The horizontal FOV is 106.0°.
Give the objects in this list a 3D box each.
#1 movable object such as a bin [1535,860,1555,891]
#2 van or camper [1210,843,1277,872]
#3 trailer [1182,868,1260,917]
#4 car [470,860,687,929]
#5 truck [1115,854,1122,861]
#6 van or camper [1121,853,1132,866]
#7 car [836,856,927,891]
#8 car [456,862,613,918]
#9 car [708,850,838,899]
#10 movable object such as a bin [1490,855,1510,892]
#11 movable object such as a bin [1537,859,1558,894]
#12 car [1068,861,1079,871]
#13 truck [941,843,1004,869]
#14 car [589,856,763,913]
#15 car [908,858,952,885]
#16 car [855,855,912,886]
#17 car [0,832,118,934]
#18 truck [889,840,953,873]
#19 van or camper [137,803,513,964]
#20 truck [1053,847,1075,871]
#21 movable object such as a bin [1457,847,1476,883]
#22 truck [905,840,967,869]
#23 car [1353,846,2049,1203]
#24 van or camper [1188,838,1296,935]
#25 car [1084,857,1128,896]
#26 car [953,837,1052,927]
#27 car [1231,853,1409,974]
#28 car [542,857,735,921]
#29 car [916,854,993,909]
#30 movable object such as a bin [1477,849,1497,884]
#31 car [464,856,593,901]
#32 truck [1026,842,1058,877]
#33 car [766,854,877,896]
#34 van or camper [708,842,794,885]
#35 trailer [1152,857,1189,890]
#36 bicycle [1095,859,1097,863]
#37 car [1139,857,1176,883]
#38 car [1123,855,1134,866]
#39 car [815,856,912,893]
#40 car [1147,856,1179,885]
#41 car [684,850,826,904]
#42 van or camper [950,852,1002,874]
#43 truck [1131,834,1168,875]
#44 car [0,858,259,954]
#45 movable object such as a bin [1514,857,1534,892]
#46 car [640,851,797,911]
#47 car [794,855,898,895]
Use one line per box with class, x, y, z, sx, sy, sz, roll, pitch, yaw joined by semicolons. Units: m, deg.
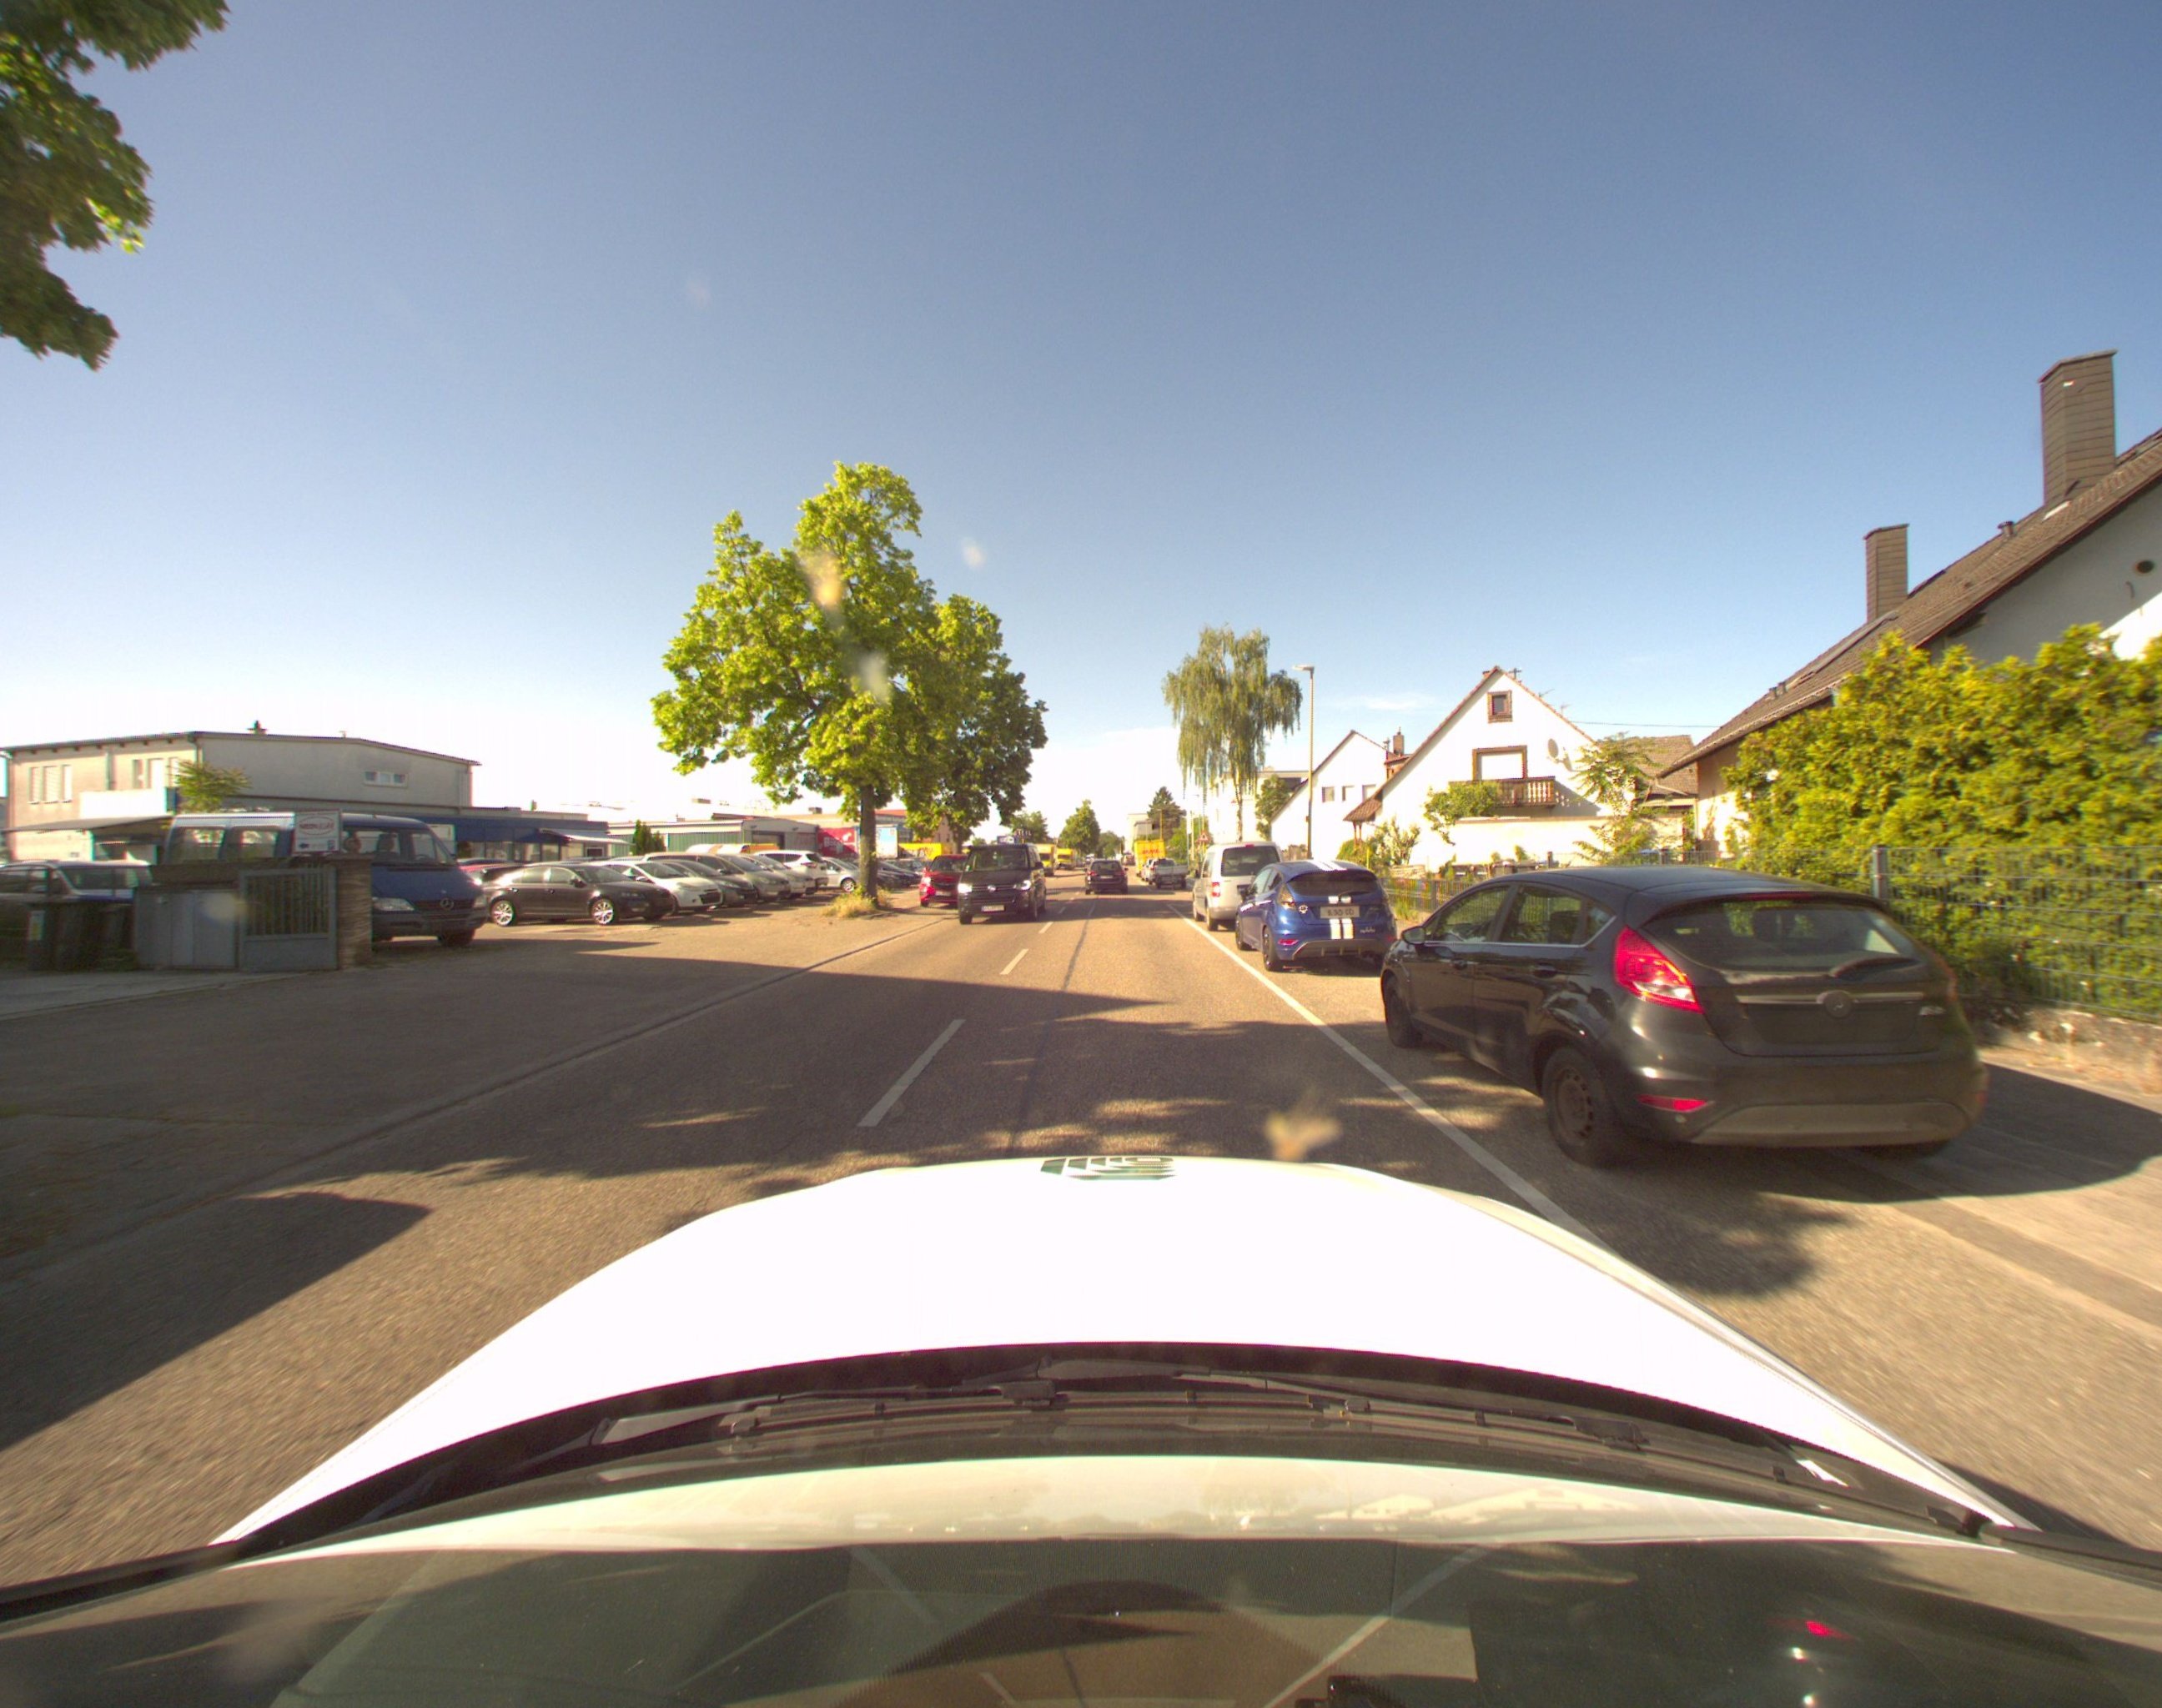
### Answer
movable object such as a bin;13.606;0.627;23.872;0.498;0.912;0.461;-1;0;29
van or camper;15.133;0.347;75.762;5.839;2.541;2.272;-1;0;-23
trailer;3.916;1.050;23.198;1.622;1.217;3.143;-1;0;-1
car;-11.946;0.946;19.486;4.225;1.542;1.769;-1;0;7
truck;11.556;1.059;248.972;1.986;2.287;6.959;-1;0;2
van or camper;8.587;1.000;154.698;1.986;2.310;4.002;-1;0;2
car;-10.462;1.027;42.784;4.225;1.728;1.769;-1;0;7
car;-16.290;1.017;24.538;1.655;1.517;4.009;-1;0;8
car;-11.666;0.778;30.997;4.225;1.728;1.769;-1;0;7
movable object such as a bin;12.612;0.587;24.529;0.498;1.078;0.461;-1;0;29
movable object such as a bin;13.349;0.644;23.294;0.498;0.965;0.461;-1;0;29
car;-1.245;1.976;134.905;1.751;1.403;4.557;-1;0;0
truck;-10.985;0.227;82.655;5.880;2.567;2.232;0;0;13
car;-11.839;0.875;23.992;4.234;1.585;1.766;0;0;1
car;-9.511;1.158;51.505;1.854;1.590;4.277;-1;-2;1
car;-12.322;0.990;51.108;1.764;1.748;4.179;-1;1;13
car;-21.352;0.557;15.918;4.012;1.835;1.685;-1;0;15
truck;-15.906;0.220;80.883;5.629;3.119;2.532;1;0;13
van or camper;-12.394;0.462;13.481;4.857;2.320;2.252;-1;-1;14
truck;-2.165;0.693;105.766;2.393;2.983;6.377;1;0;2
movable object such as a bin;11.792;0.338;24.912;0.498;1.096;0.461;-1;0;29
truck;-15.460;0.087;86.913;6.047;2.972;2.181;-1;0;14
car;3.288;0.730;5.421;1.713;1.505;3.907;-1;0;1
van or camper;3.417;0.641;17.964;1.712;1.890;4.182;-1;0;2
car;1.109;0.911;34.614;1.704;1.532;3.690;-2;0;3
car;-1.941;0.675;21.643;1.886;2.031;4.821;-3;0;2
car;3.330;0.752;12.012;1.712;1.505;3.565;-1;0;2
car;-11.821;0.909;21.895;4.227;1.542;1.769;-1;1;6
car;-4.321;0.894;28.411;1.796;1.752;4.344;1;0;2
movable object such as a bin;12.293;0.379;24.676;0.498;1.026;0.461;-1;0;29
car;-20.673;0.874;30.694;1.687;1.555;4.011;-1;0;10
truck;-3.483;0.511;74.124;2.394;2.983;7.246;1;0;1
car;-11.388;0.916;35.864;4.230;1.728;1.767;-1;0;4
van or camper;-22.360;0.597;55.531;2.150;2.715;6.291;-1;0;13
trailer;4.362;0.922;39.935;1.620;1.538;3.201;-1;0;3
bicycle;4.712;2.086;254.954;0.826;1.153;2.940;-1;0;1
car;4.785;0.988;51.546;1.779;1.542;4.535;-1;0;-1
car;8.388;1.170;144.185;1.911;1.825;4.082;-1;0;2
car;-10.714;1.001;40.251;4.225;1.728;1.769;-1;0;7
car;4.606;0.886;45.800;1.666;1.542;4.049;0;0;6
car;-11.391;0.790;28.593;4.225;1.728;1.769;-1;0;7
van or camper;-10.268;0.875;79.767;4.517;2.013;2.256;-1;0;8
truck;5.313;0.077;64.012;2.393;2.936;7.019;-3;-1;2
car;-17.372;0.935;14.772;3.953;1.579;1.685;-2;-2;15
movable object such as a bin;13.149;0.604;24.154;0.498;0.999;0.461;-1;0;29
car;-11.552;0.840;26.109;4.228;1.752;1.768;-1;0;5
car;-10.923;0.974;38.002;4.225;1.728;1.769;-1;0;7
